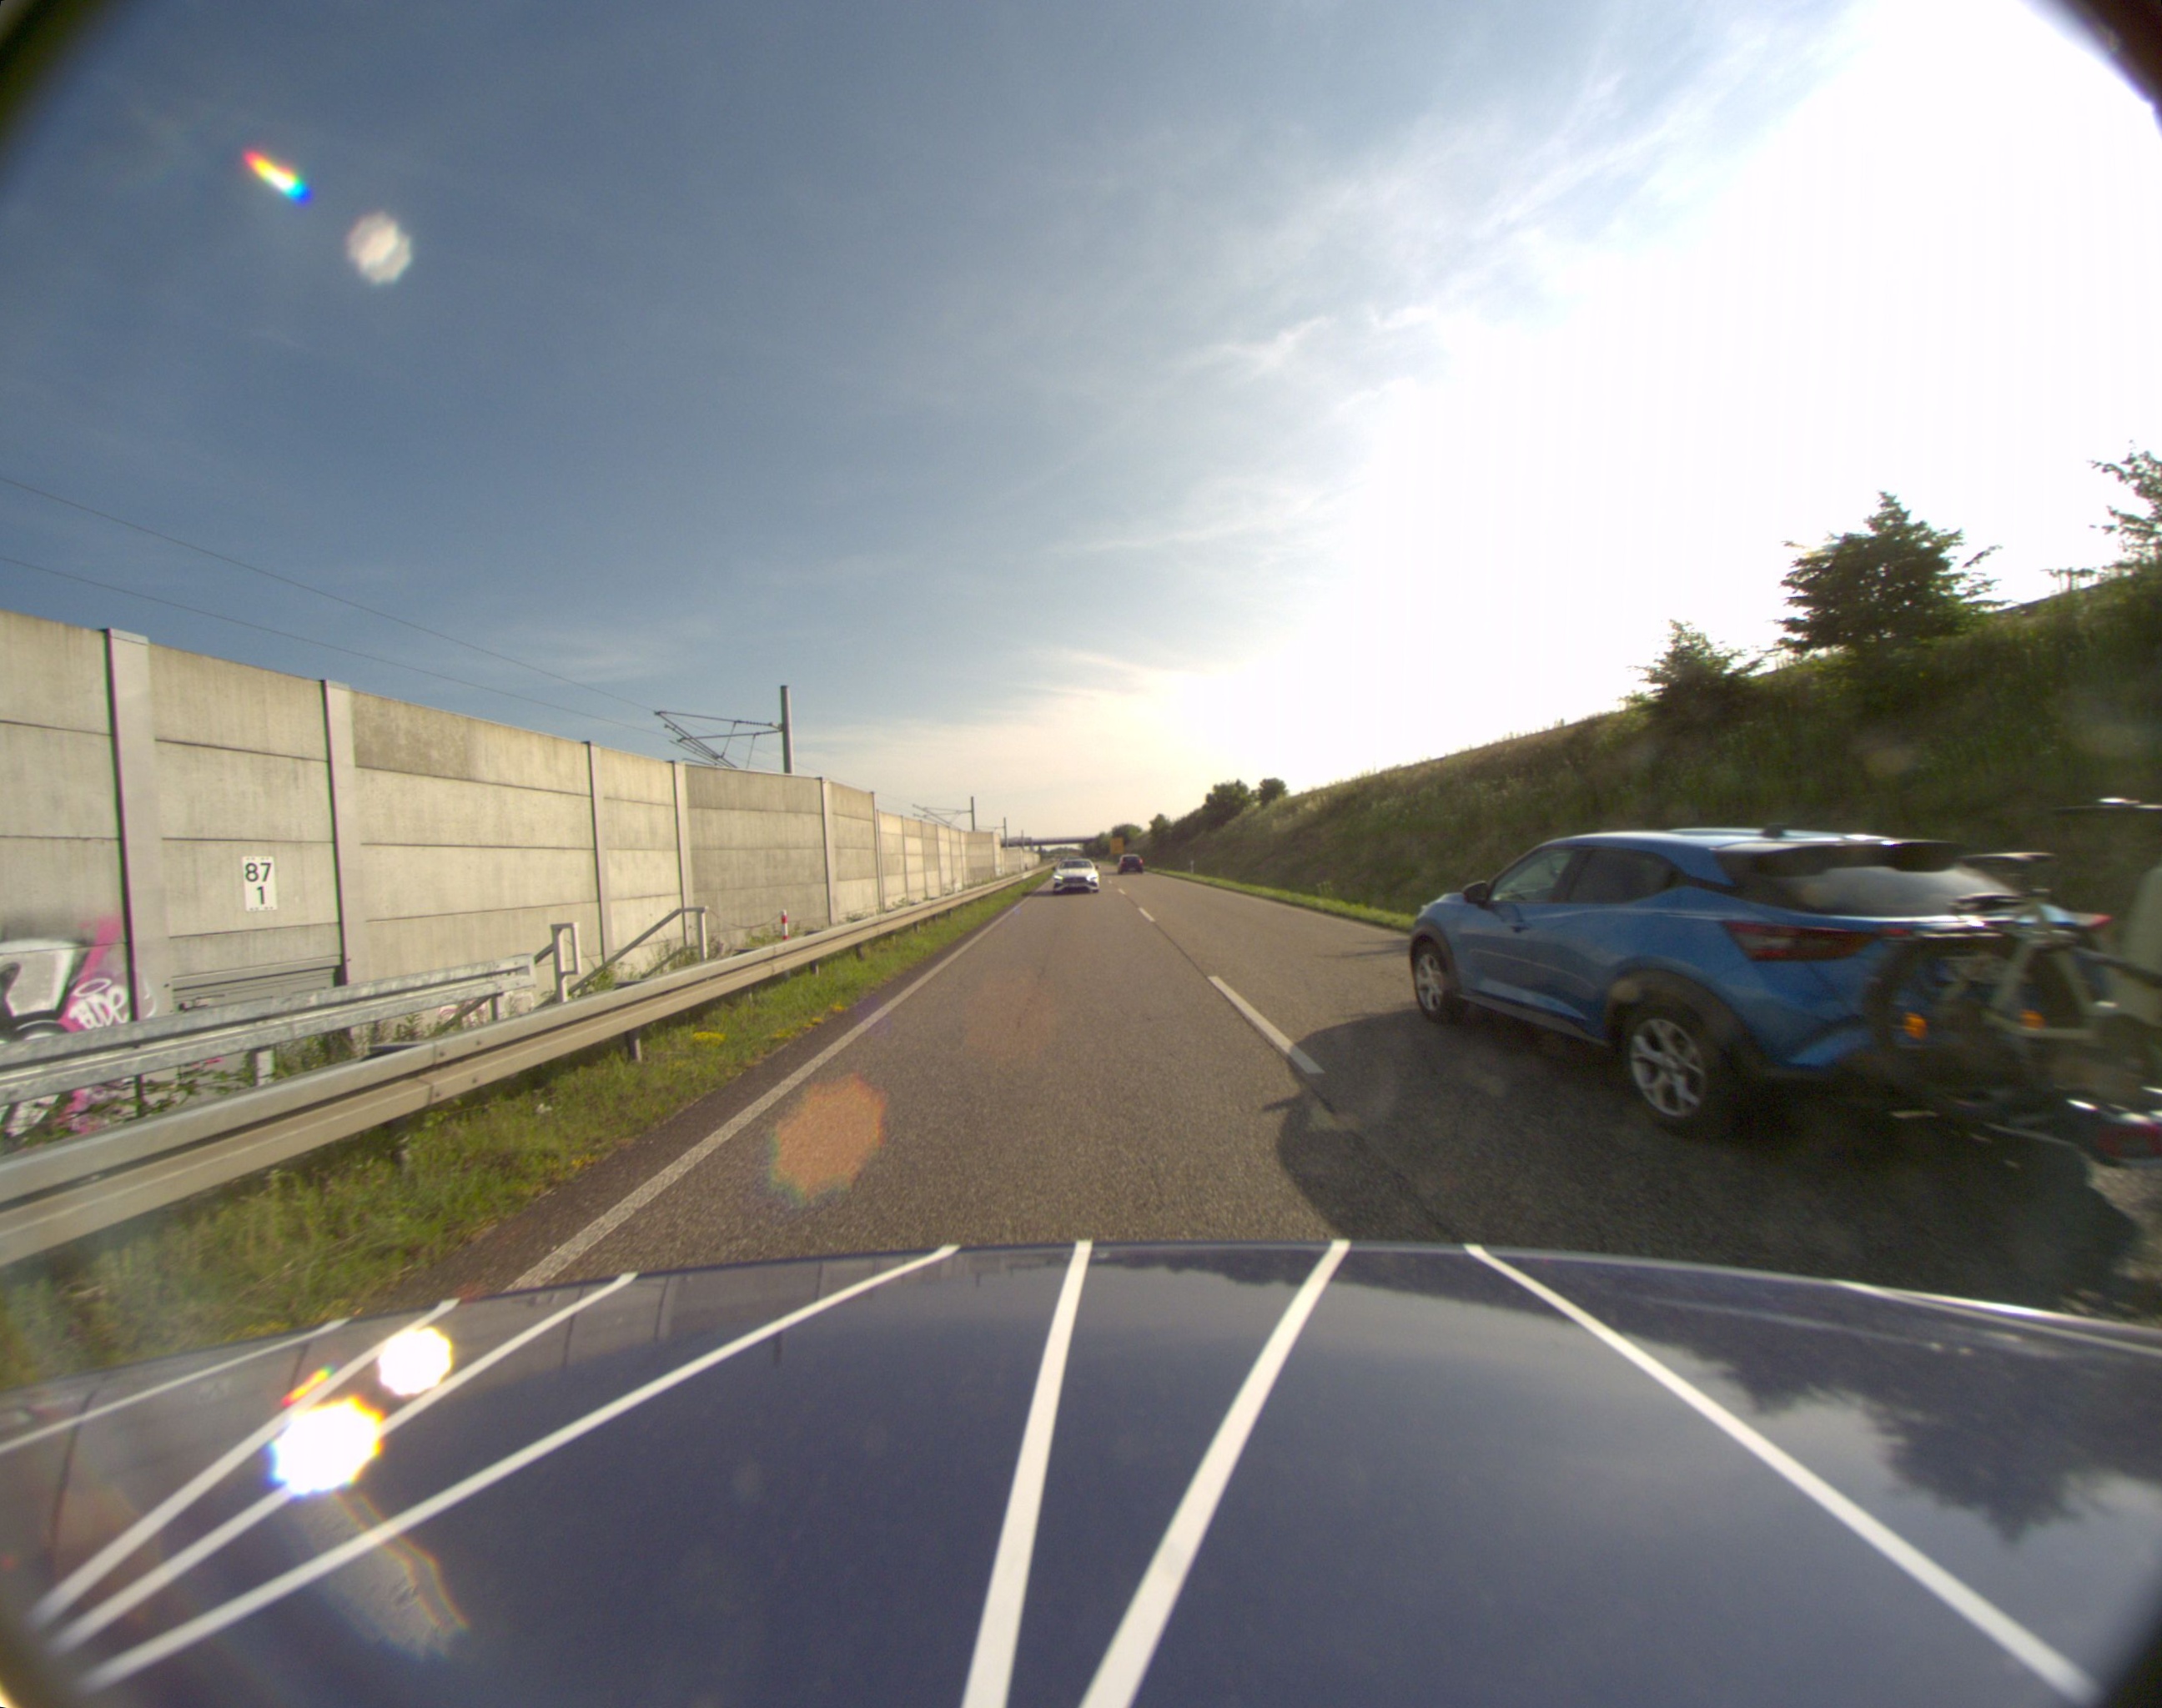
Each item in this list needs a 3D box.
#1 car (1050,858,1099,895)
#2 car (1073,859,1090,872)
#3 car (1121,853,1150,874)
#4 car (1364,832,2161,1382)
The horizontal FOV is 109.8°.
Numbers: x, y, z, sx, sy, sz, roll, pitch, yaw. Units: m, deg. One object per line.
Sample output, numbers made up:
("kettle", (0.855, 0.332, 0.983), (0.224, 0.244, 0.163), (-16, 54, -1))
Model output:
("car", (-0.235, 0.912, 32.580), (1.930, 1.399, 4.974), (-1, 0, 0))
("car", (0.045, 1.336, 87.820), (1.930, 1.399, 4.973), (-1, 1, 0))
("car", (3.873, 0.649, 54.863), (1.721, 1.445, 4.018), (-2, 0, 0))
("car", (3.896, 0.721, 4.891), (2.146, 1.564, 5.339), (-2, 0, 0))
